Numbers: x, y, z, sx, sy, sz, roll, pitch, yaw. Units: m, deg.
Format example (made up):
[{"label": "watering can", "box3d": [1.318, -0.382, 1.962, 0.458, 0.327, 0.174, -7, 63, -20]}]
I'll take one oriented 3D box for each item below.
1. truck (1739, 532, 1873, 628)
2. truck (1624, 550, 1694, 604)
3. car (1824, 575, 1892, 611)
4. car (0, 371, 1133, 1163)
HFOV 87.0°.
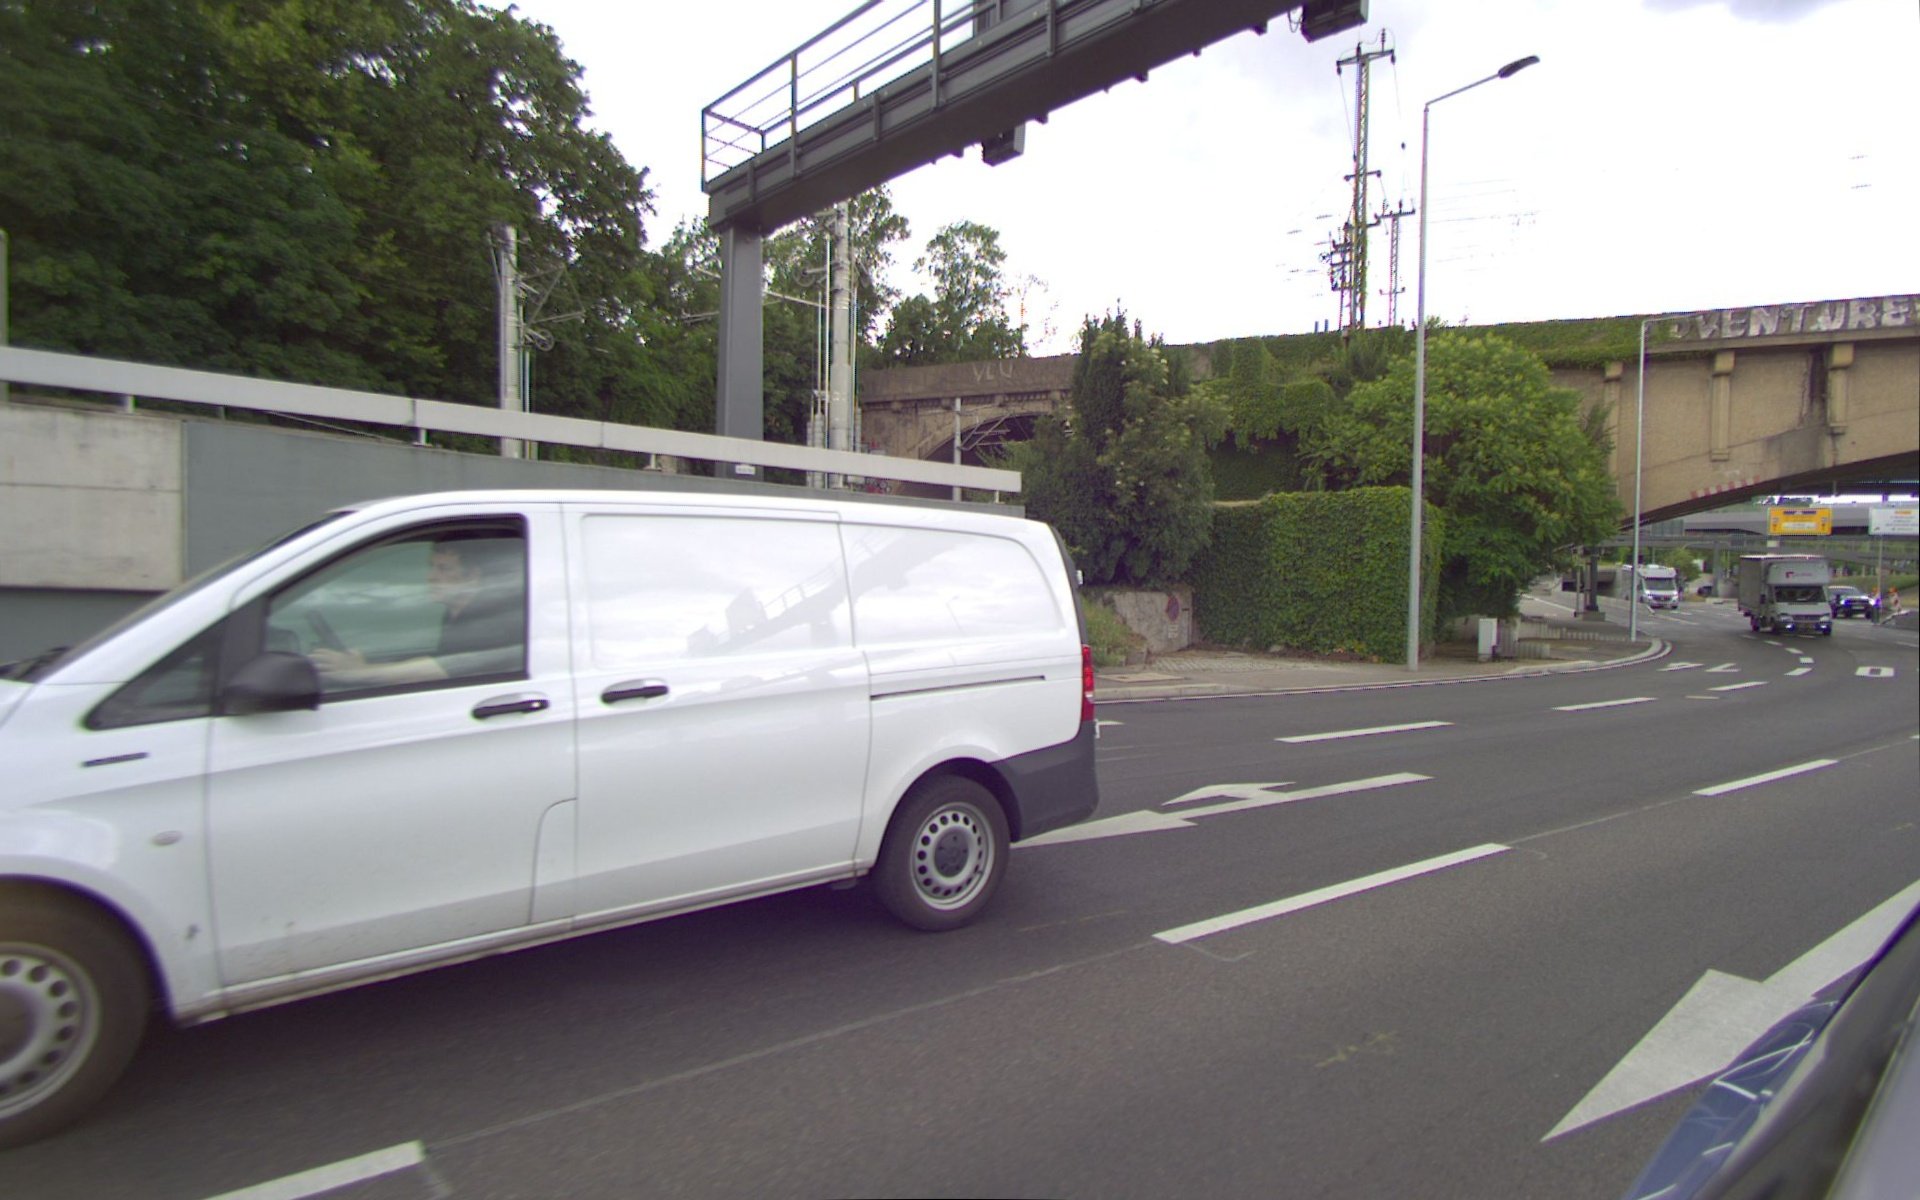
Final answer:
[{"label": "truck", "box3d": [36.419, -0.816, 43.939, 3.010, 3.633, 8.851, -3, -1, 31]}, {"label": "truck", "box3d": [49.206, -1.607, 71.498, 2.548, 3.613, 9.038, 0, 1, 25]}, {"label": "car", "box3d": [49.473, -0.412, 55.864, 1.852, 1.860, 4.164, 1, 1, 28]}, {"label": "car", "box3d": [-1.799, 0.394, 4.275, 5.102, 2.015, 2.000, -1, 1, -36]}]
